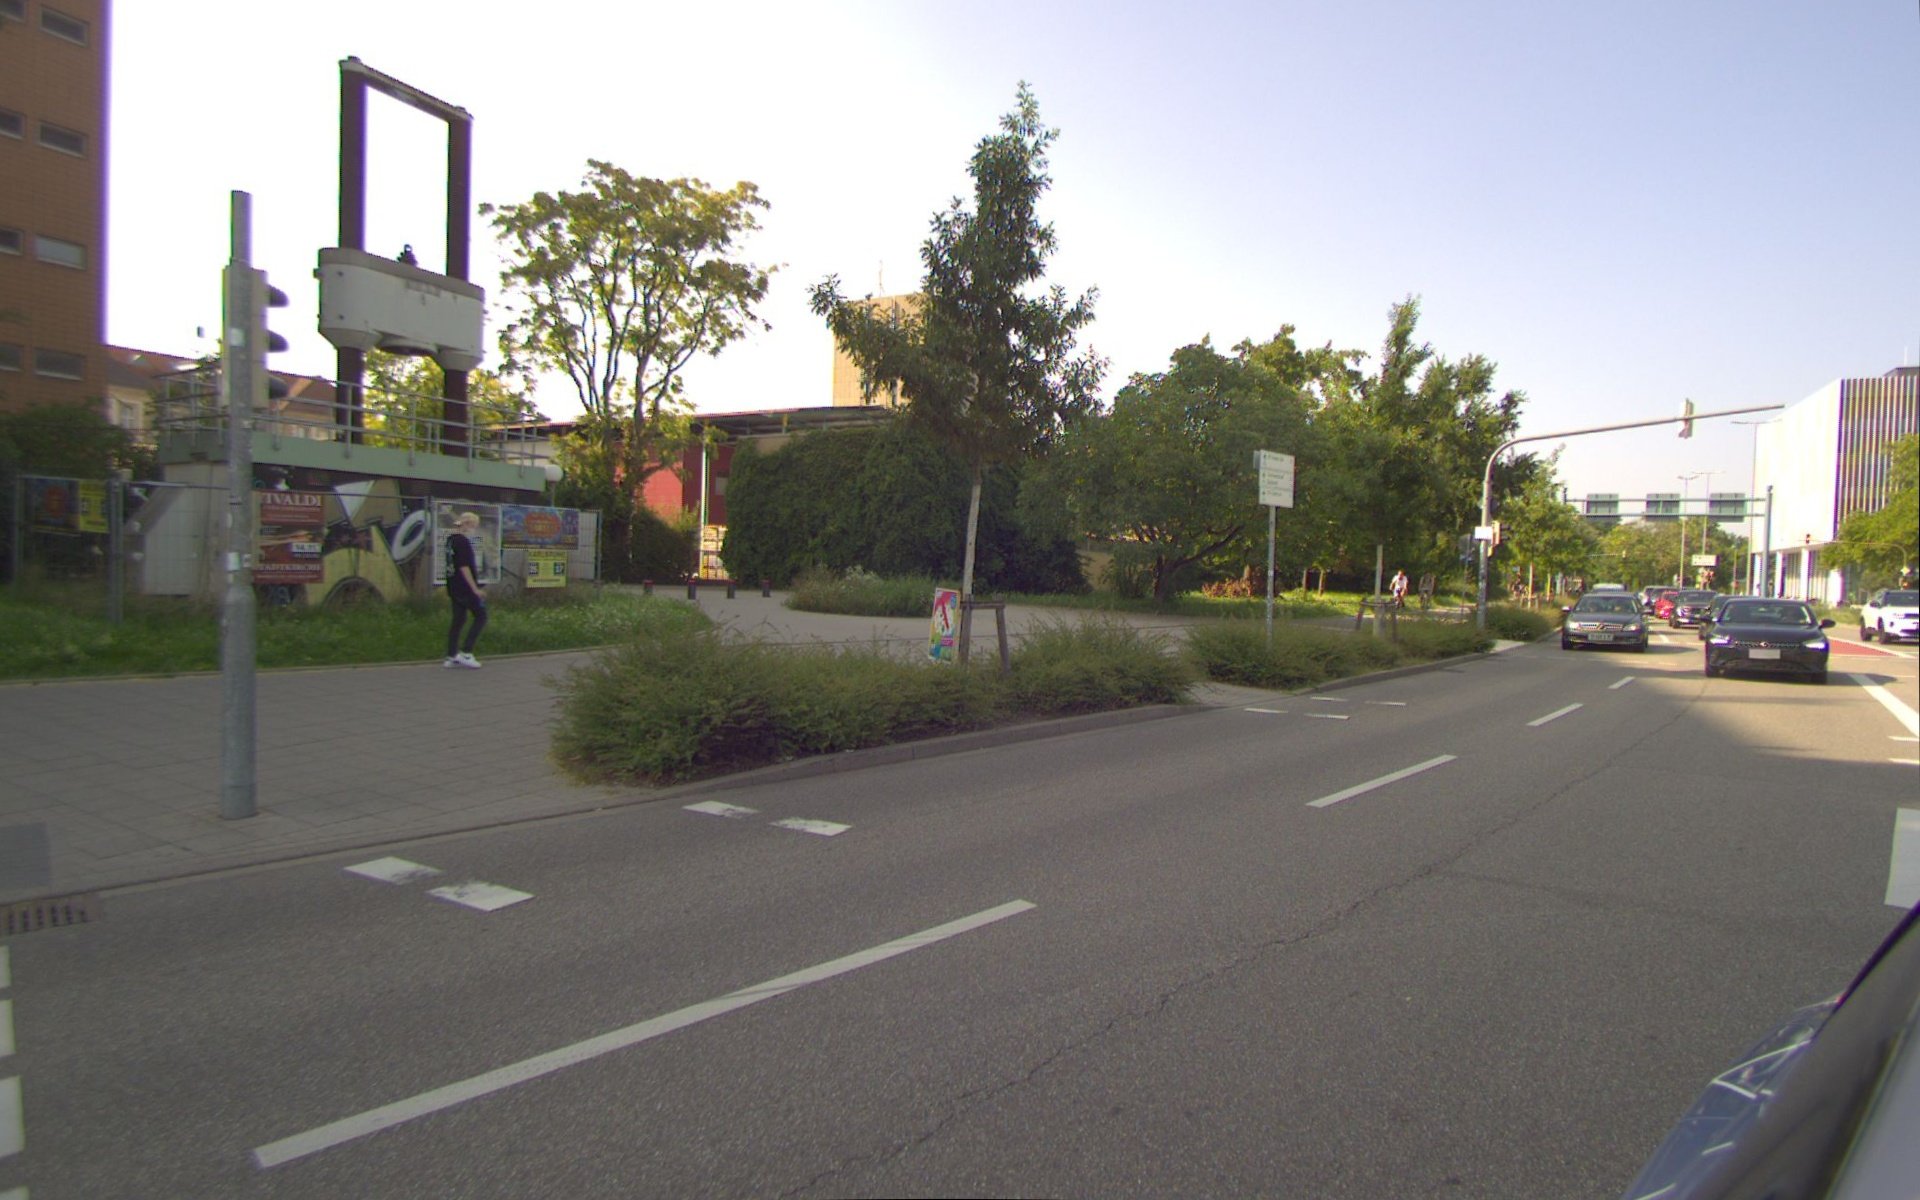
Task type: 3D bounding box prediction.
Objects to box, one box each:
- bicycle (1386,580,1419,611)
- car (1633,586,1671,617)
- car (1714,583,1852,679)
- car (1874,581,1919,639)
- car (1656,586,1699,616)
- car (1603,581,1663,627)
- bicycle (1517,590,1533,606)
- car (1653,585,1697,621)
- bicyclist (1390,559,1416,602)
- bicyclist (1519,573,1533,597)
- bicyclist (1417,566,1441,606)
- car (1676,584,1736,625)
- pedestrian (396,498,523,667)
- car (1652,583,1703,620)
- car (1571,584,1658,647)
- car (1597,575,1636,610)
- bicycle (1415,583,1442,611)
[{"bbox_3d":[17.452,-0.192,39.871,0.768,1.131,2.276,3,2,33],"label":"bicycle"},{"bbox_3d":[46.080,0.063,67.455,1.674,1.965,4.031,3,2,30],"label":"car"},{"bbox_3d":[15.082,0.472,18.733,1.678,1.510,4.316,3,2,36],"label":"car"},{"bbox_3d":[29.182,0.261,30.484,1.988,1.654,4.314,-2,0,37],"label":"car"},{"bbox_3d":[38.967,0.029,55.034,1.676,1.510,4.321,3,2,33],"label":"car"},{"bbox_3d":[24.535,0.110,36.979,1.676,1.510,4.618,3,2,33],"label":"car"},{"bbox_3d":[40.427,-0.166,72.352,0.768,1.131,2.275,2,2,35],"label":"bicycle"},{"bbox_3d":[42.449,0.130,60.111,1.674,1.965,4.031,3,2,30],"label":"car"},{"bbox_3d":[17.401,-0.771,39.749,0.768,1.612,0.913,3,2,34],"label":"bicyclist"},{"bbox_3d":[40.498,-1.088,72.382,0.769,1.697,0.912,2,1,36],"label":"bicyclist"},{"bbox_3d":[19.526,-0.596,42.153,0.767,1.612,0.914,2,1,31],"label":"bicyclist"},{"bbox_3d":[30.719,0.140,41.765,1.676,1.510,4.321,3,2,33],"label":"car"},{"bbox_3d":[-5.686,-0.221,11.498,0.958,1.804,0.987,6,4,43],"label":"pedestrian"},{"bbox_3d":[35.194,0.034,49.706,1.771,1.625,4.371,3,3,32],"label":"car"},{"bbox_3d":[17.161,0.338,26.460,1.678,1.460,4.316,2,2,36],"label":"car"},{"bbox_3d":[39.339,-0.453,60.707,1.675,1.965,4.325,3,2,31],"label":"car"},{"bbox_3d":[19.533,-0.153,42.190,0.767,1.131,2.279,2,2,31],"label":"bicycle"}]
